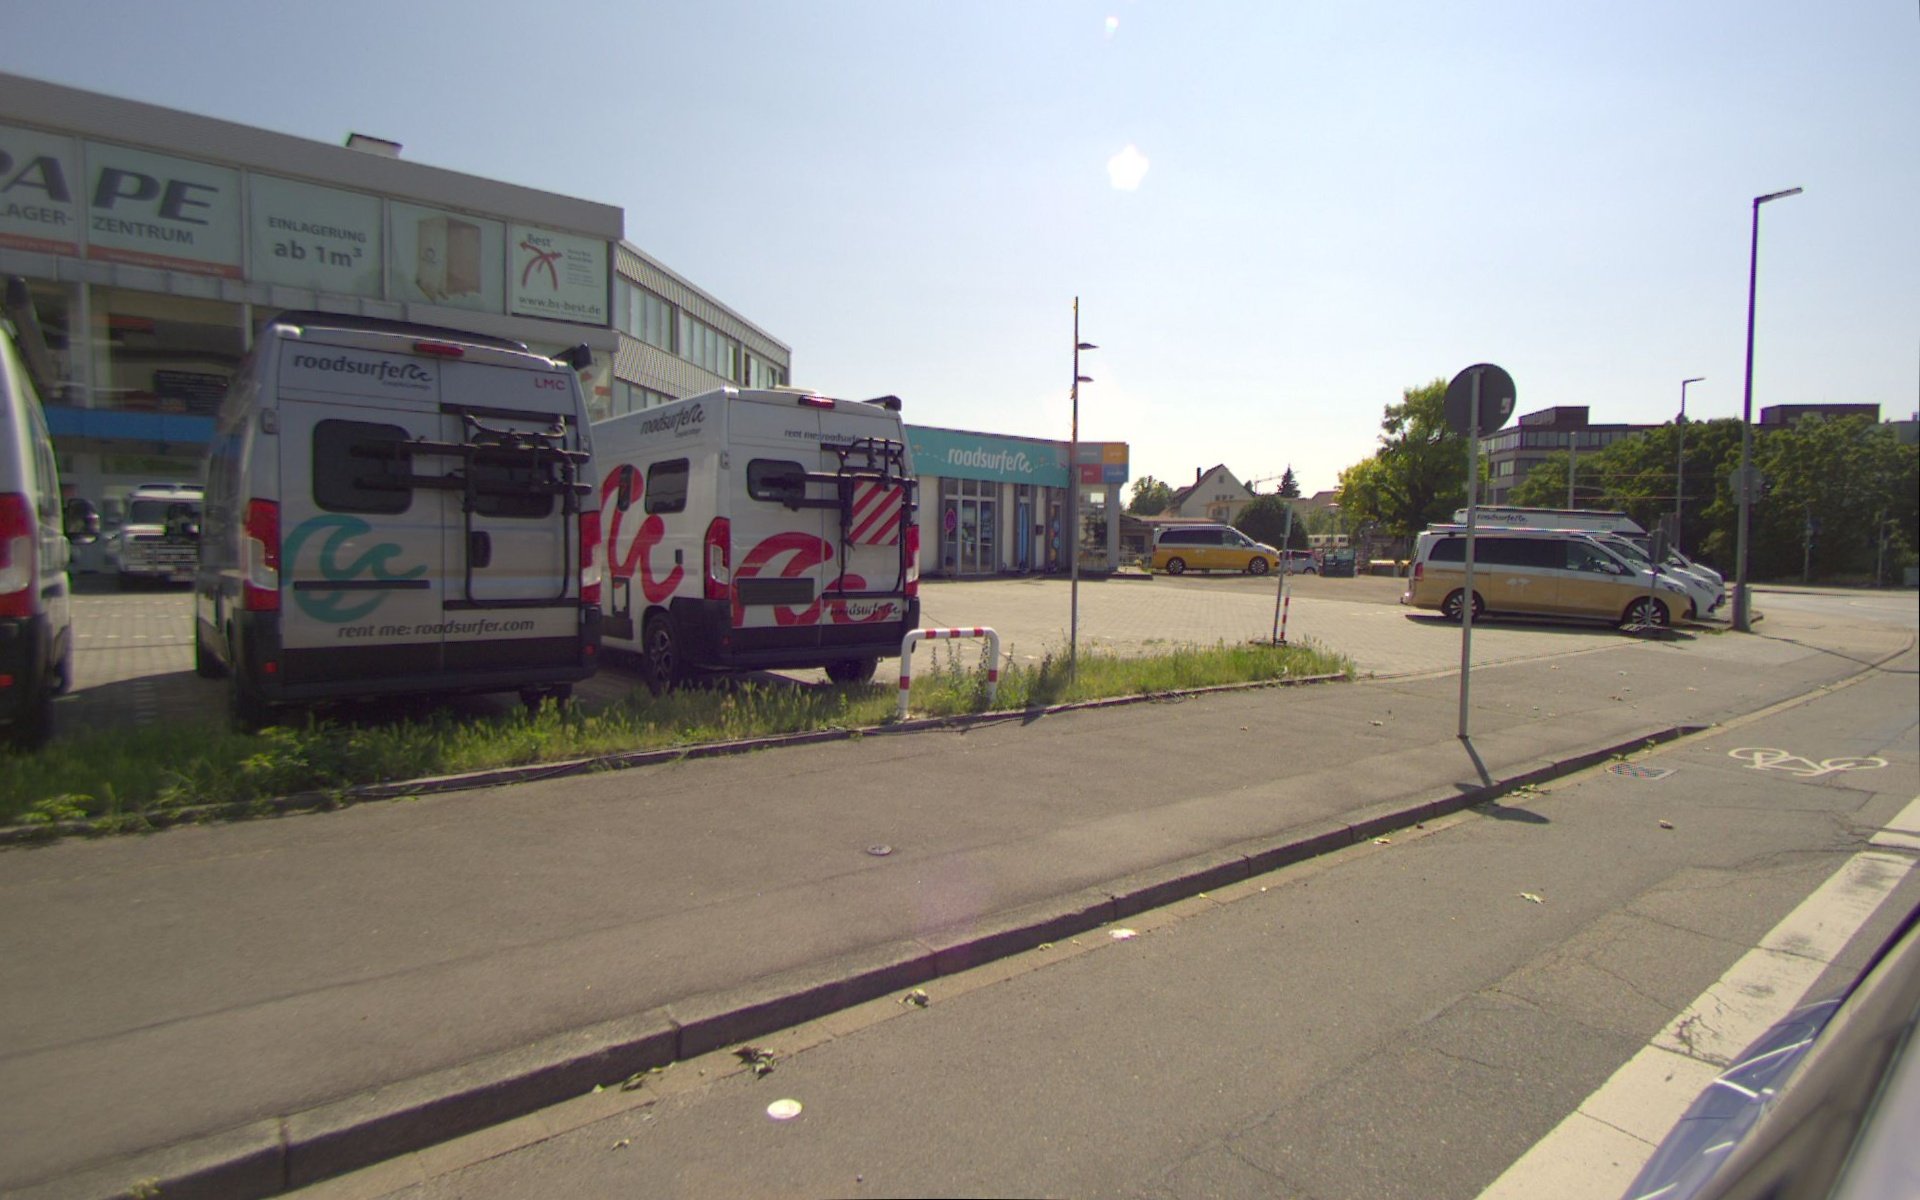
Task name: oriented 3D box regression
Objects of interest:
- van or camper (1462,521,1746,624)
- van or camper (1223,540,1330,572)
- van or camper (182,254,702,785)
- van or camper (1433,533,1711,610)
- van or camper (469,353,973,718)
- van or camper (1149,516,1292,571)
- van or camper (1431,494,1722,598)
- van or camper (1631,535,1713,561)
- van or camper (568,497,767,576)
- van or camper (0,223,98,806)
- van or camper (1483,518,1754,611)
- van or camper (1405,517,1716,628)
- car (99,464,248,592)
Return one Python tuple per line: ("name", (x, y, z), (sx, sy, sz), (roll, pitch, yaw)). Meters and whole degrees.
("van or camper", (14.153, -0.707, 22.654), (4.922, 2.069, 2.029), (2, 4, 21))
("van or camper", (17.023, -2.390, 54.752), (5.338, 1.631, 2.285), (1, 3, 13))
("van or camper", (-4.791, -0.609, 8.575), (2.664, 2.749, 6.366), (-2, 4, -39))
("van or camper", (18.519, -0.956, 31.163), (6.755, 2.160, 2.772), (2, 3, 17))
("van or camper", (-2.833, -0.644, 10.323), (2.572, 2.555, 6.212), (-2, 4, -39))
("van or camper", (10.336, -2.279, 40.490), (5.338, 2.063, 2.285), (1, 3, 13))
("van or camper", (16.684, -1.529, 27.907), (6.272, 2.668, 2.523), (1, 3, 15))
("van or camper", (53.704, -3.935, 76.486), (2.457, 1.850, 5.298), (1, 3, 1))
("van or camper", (-8.135, -1.770, 28.523), (2.119, 2.038, 5.034), (4, 4, 45))
("van or camper", (-7.416, -0.521, 6.468), (2.664, 2.732, 6.366), (-2, 4, -39))
("van or camper", (16.022, -0.942, 25.061), (5.073, 2.101, 2.438), (2, 3, 19))
("van or camper", (11.978, -0.657, 20.675), (5.074, 1.984, 1.975), (3, 5, 21))
("car", (-17.255, -1.547, 22.183), (2.285, 2.448, 5.311), (-2, 4, -39))
